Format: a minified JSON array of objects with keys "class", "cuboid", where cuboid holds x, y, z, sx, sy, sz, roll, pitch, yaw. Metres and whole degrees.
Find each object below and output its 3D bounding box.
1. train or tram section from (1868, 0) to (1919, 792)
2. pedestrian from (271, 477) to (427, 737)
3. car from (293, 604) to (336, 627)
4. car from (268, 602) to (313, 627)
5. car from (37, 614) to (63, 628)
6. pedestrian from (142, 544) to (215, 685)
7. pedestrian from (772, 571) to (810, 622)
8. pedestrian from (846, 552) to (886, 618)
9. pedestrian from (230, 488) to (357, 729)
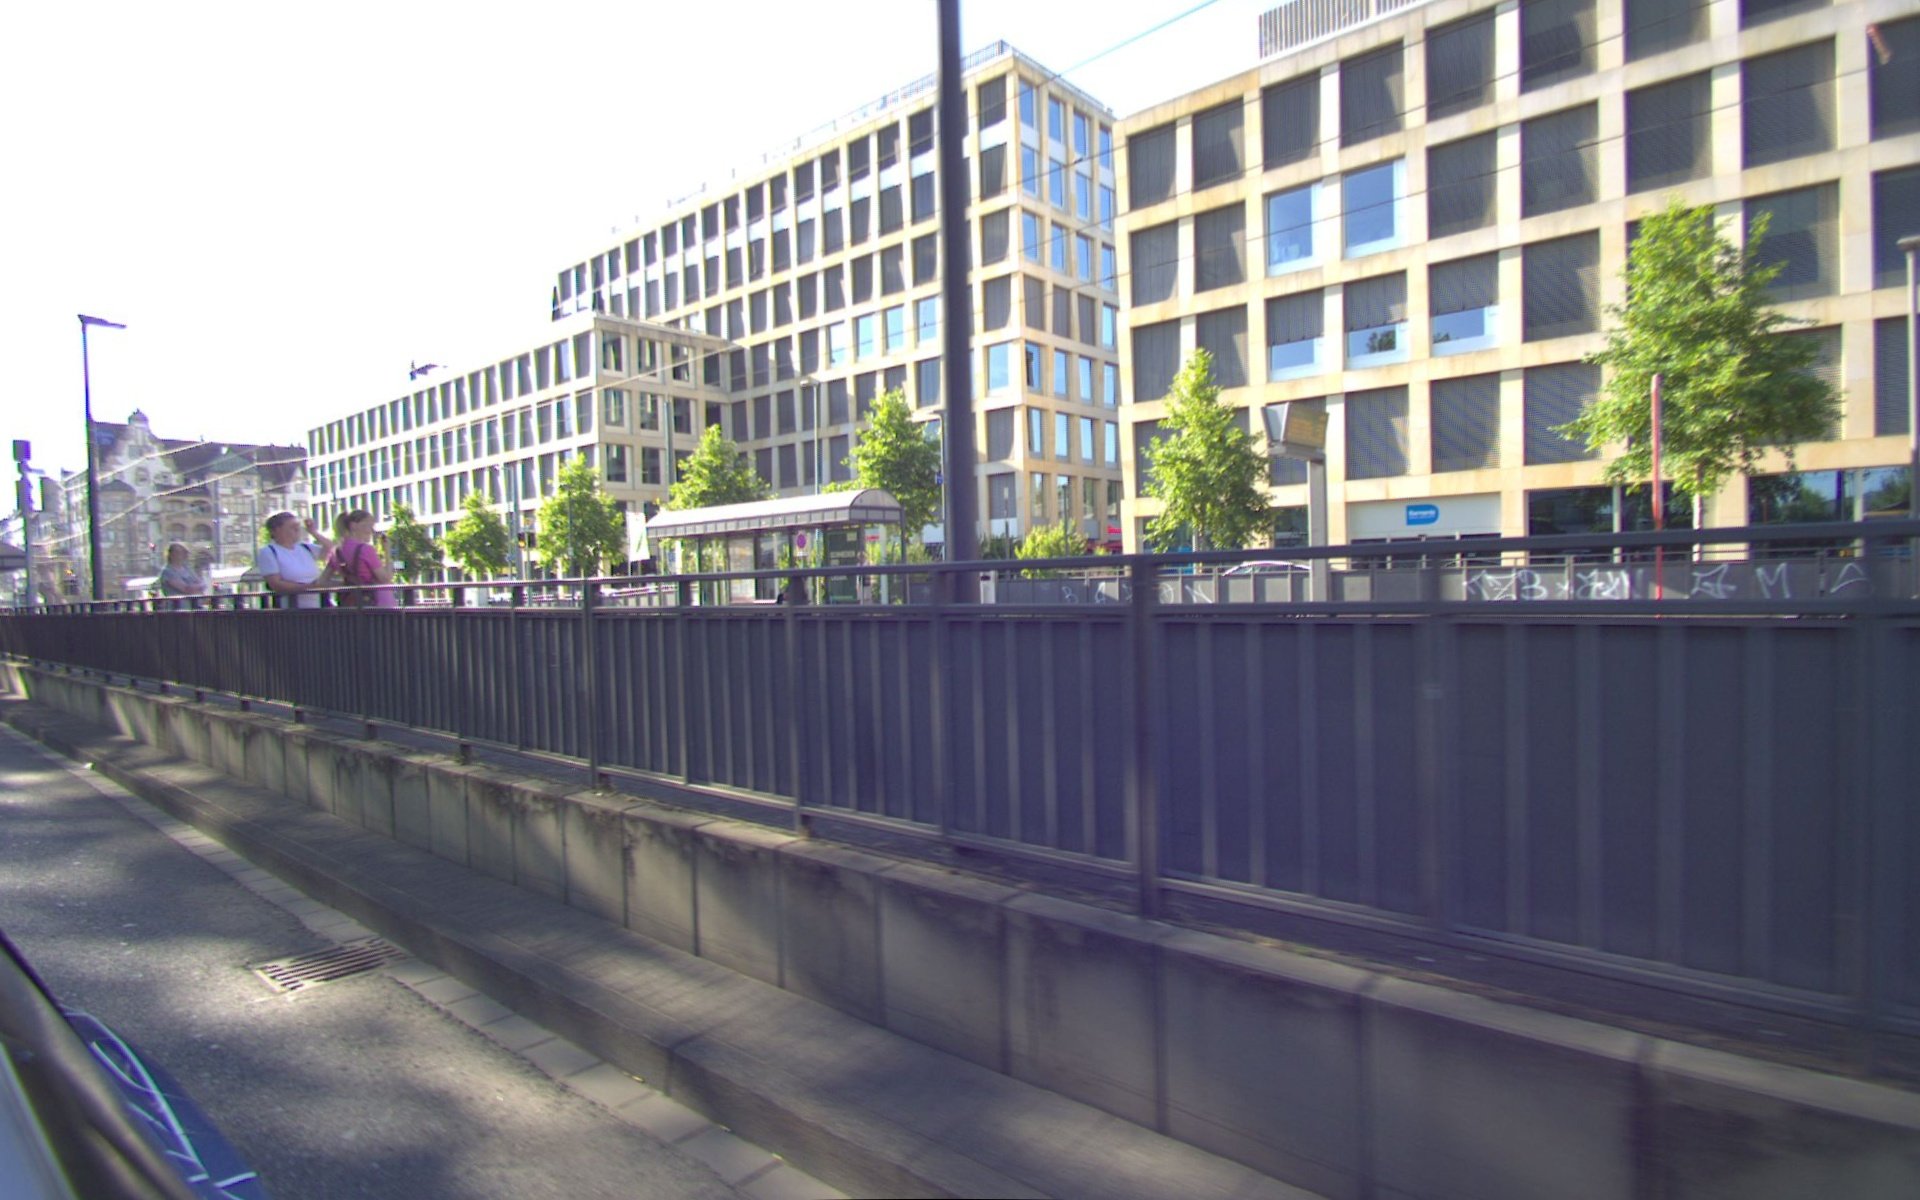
[{"class":"train or tram section","cuboid":[10.736,-1.208,1.213,14.211,3.858,3.275,-1,1,41]},{"class":"pedestrian","cuboid":[-4.101,0.044,6.819,0.609,1.654,0.609,-2,1,22]},{"class":"car","cuboid":[-46.914,1.122,73.537,3.649,1.573,1.627,-1,1,42]},{"class":"car","cuboid":[-51.319,1.129,77.567,3.998,1.782,1.898,-1,1,42]},{"class":"car","cuboid":[-116.535,2.731,129.594,3.996,1.682,1.759,-2,1,39]},{"class":"pedestrian","cuboid":[-9.029,0.158,11.693,0.606,1.560,0.726,-2,1,-39]},{"class":"pedestrian","cuboid":[-4.295,-0.083,25.669,0.725,1.269,0.607,-1,1,45]},{"class":"pedestrian","cuboid":[-2.229,-0.352,23.966,0.607,1.539,0.725,-3,1,-41]},{"class":"pedestrian","cuboid":[-4.936,0.052,7.497,0.613,1.681,0.605,-1,1,43]}]
